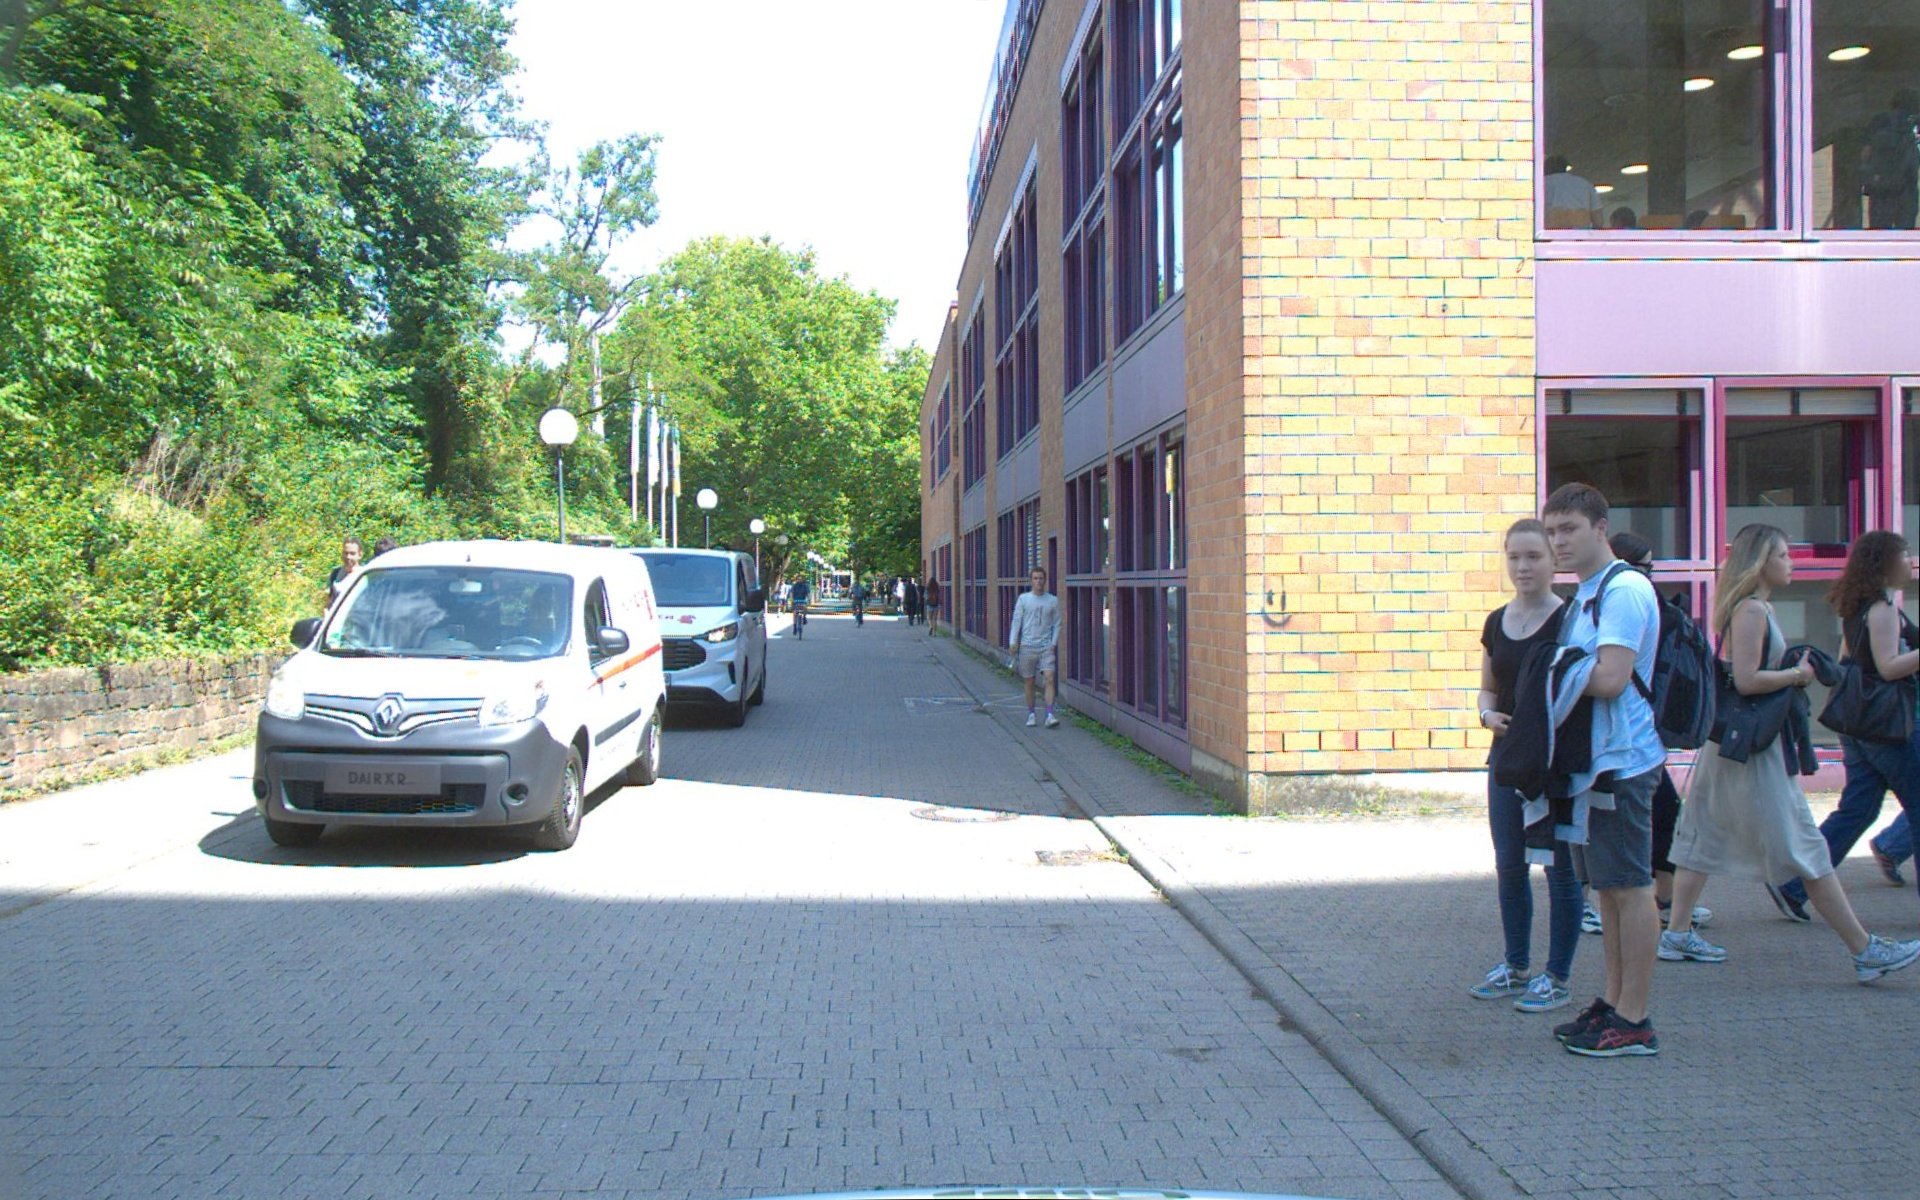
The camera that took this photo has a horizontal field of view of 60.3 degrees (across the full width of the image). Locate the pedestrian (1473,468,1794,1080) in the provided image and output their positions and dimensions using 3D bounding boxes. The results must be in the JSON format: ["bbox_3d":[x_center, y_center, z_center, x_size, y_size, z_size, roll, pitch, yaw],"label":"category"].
[{"bbox_3d":[2.115,0.529,5.275,0.750,1.826,0.588,-1,-1,4],"label":"pedestrian"}]

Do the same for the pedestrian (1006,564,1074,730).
[{"bbox_3d":[0.874,0.511,18.200,0.669,1.778,0.782,0,-1,-3],"label":"pedestrian"}]

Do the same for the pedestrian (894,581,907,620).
[{"bbox_3d":[-3.020,0.016,84.017,0.640,1.956,0.817,-1,-1,-2],"label":"pedestrian"}]

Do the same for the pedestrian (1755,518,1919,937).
[{"bbox_3d":[3.976,0.518,7.011,0.909,1.702,0.588,-1,-1,4],"label":"pedestrian"}]

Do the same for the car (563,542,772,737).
[{"bbox_3d":[-3.319,0.385,19.697,1.846,2.008,5.211,0,0,-3],"label":"car"}]

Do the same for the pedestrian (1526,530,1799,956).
[{"bbox_3d":[2.947,0.576,7.003,0.867,1.701,0.643,-2,1,4],"label":"pedestrian"}]

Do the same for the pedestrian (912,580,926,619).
[{"bbox_3d":[-2.095,-0.042,84.075,0.640,1.956,0.817,-1,-1,-2],"label":"pedestrian"}]

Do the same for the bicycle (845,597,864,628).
[{"bbox_3d":[-3.844,0.454,60.225,0.576,1.102,1.905,0,0,-7],"label":"bicycle"}]

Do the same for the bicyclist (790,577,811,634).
[{"bbox_3d":[-4.498,0.160,46.609,0.576,1.600,0.828,0,0,-7],"label":"bicyclist"}]

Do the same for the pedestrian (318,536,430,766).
[{"bbox_3d":[-4.932,0.424,13.956,0.669,1.876,0.782,0,-1,-3],"label":"pedestrian"}]

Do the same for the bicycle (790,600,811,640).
[{"bbox_3d":[-4.502,0.550,46.641,0.576,1.102,1.811,0,0,-7],"label":"bicycle"}]

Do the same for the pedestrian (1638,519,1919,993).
[{"bbox_3d":[3.147,0.570,6.288,0.867,1.702,0.559,-2,-1,4],"label":"pedestrian"}]

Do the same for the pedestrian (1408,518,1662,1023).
[{"bbox_3d":[2.032,0.584,5.918,0.682,1.702,0.588,-1,-1,4],"label":"pedestrian"}]

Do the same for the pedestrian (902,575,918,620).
[{"bbox_3d":[-1.911,-0.107,63.349,0.574,1.702,0.817,-1,-1,-2],"label":"pedestrian"}]

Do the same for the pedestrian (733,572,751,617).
[{"bbox_3d":[-8.415,-0.208,63.799,0.574,1.702,0.698,-1,-1,-2],"label":"pedestrian"}]

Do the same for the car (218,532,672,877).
[{"bbox_3d":[-3.095,0.530,10.947,1.754,1.792,4.479,-1,0,-2],"label":"car"}]

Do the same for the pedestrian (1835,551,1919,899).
[{"bbox_3d":[4.786,0.548,7.829,0.867,1.569,0.743,-2,1,4],"label":"pedestrian"}]

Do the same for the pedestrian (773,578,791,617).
[{"bbox_3d":[-7.977,-0.106,73.952,0.710,1.702,0.748,-1,-1,-2],"label":"pedestrian"}]

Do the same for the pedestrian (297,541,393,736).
[{"bbox_3d":[-6.066,0.379,16.349,0.669,1.876,0.782,0,-1,-3],"label":"pedestrian"}]

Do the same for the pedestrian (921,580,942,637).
[{"bbox_3d":[-0.870,0.254,49.806,0.574,1.702,0.698,-1,-1,-2],"label":"pedestrian"}]

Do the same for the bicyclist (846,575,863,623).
[{"bbox_3d":[-3.847,-0.025,60.240,0.576,1.746,0.664,0,0,-7],"label":"bicyclist"}]
